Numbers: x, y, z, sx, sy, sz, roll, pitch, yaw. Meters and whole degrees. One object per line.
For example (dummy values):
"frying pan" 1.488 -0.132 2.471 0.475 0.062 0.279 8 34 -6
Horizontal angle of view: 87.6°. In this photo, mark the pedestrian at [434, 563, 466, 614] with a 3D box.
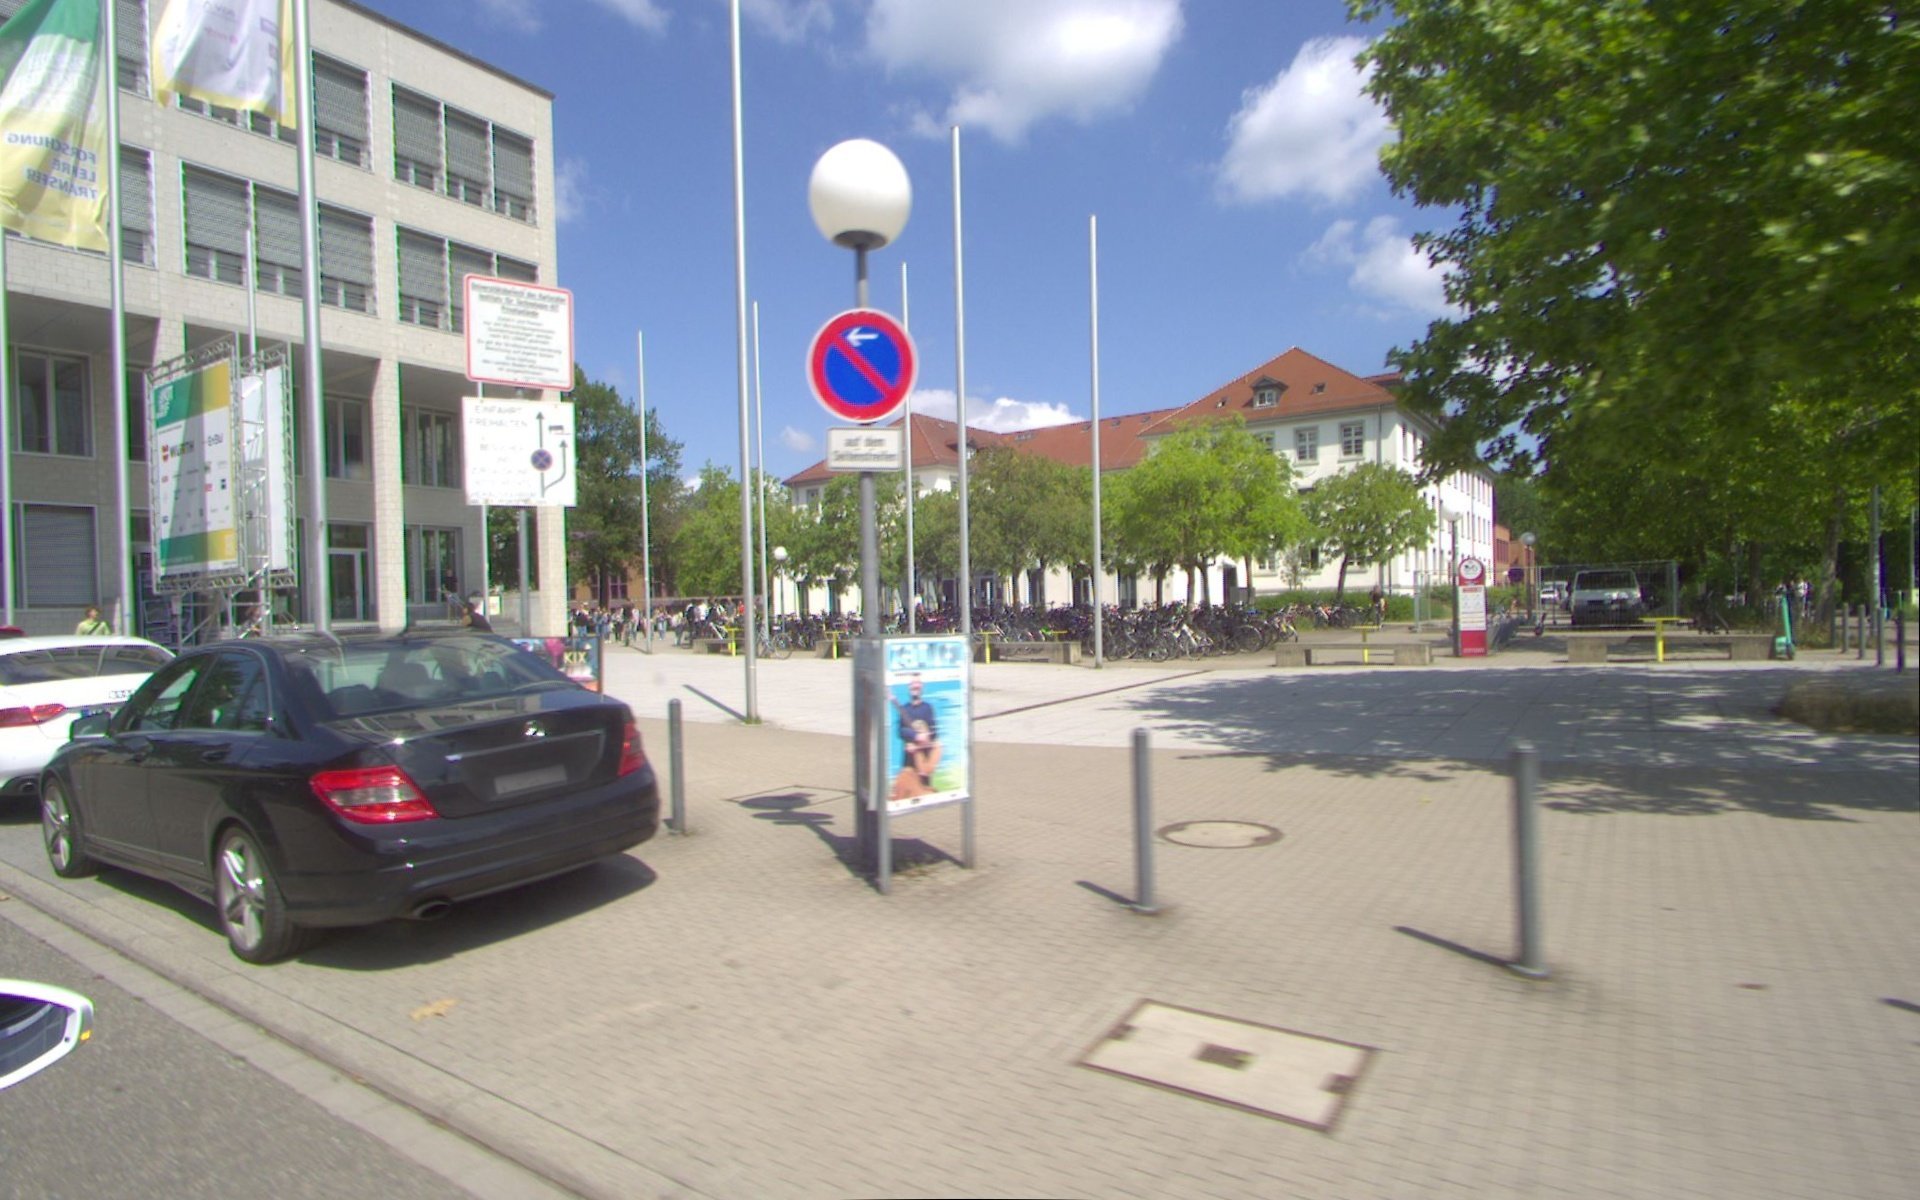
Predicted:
"pedestrian" -18.701 -0.420 36.717 0.708 1.821 0.715 -3 0 37

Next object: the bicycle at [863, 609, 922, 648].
"bicycle" -2.111 0.890 31.381 1.733 1.113 0.604 -3 0 4

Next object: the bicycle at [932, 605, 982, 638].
"bicycle" -0.104 0.790 36.996 1.733 1.113 0.604 -3 0 4

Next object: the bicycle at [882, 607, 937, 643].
"bicycle" -1.668 0.828 33.456 1.733 1.113 0.604 -3 0 4

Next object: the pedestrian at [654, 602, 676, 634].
"pedestrian" -13.987 0.844 47.433 0.707 1.455 0.630 -3 0 34

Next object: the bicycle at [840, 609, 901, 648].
"bicycle" -2.716 0.863 30.478 1.733 1.113 0.604 -3 0 4

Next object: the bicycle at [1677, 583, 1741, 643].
"bicycle" 16.208 0.272 21.647 2.011 1.198 0.792 -2 0 -45

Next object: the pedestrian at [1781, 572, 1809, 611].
"pedestrian" 39.792 -0.395 47.723 0.778 1.804 0.682 -3 0 -26

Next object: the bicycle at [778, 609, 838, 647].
"bicycle" -4.829 0.875 31.815 1.733 1.113 0.604 -3 0 4

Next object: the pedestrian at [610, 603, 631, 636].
"pedestrian" -15.652 0.899 46.121 0.707 1.449 0.630 -3 0 -37

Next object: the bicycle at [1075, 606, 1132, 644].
"bicycle" 4.626 0.809 32.419 1.733 1.113 0.604 -3 0 4

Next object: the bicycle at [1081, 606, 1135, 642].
"bicycle" 5.000 0.814 33.866 1.733 1.113 0.604 -3 0 4

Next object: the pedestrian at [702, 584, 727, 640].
"pedestrian" -10.224 0.504 41.643 0.840 2.258 0.633 -3 0 -20

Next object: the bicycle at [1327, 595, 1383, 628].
"bicycle" 14.323 0.412 36.340 1.733 1.113 0.604 -3 0 4

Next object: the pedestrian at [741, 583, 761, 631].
"pedestrian" -10.086 0.323 48.328 0.622 2.258 0.716 -3 0 4

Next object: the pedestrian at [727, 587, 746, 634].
"pedestrian" -10.820 0.516 48.470 0.622 2.258 0.716 -3 0 4

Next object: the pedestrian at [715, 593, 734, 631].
"pedestrian" -11.382 0.600 48.487 0.622 1.800 0.716 -3 0 4

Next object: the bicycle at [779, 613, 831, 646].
"bicycle" -5.720 1.088 37.008 1.733 1.113 0.604 -3 0 4

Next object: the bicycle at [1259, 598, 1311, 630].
"bicycle" 12.377 0.547 38.158 1.733 1.113 0.604 -3 0 4

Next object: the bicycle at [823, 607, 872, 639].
"bicycle" -4.251 0.861 37.980 1.733 1.113 0.604 -3 0 4

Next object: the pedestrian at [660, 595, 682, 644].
"pedestrian" -10.588 0.719 36.660 0.623 1.769 0.714 -3 0 -22

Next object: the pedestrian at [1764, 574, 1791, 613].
"pedestrian" 38.228 -0.302 46.806 0.779 1.804 0.681 -3 0 -30

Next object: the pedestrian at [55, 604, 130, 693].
"pedestrian" -17.881 0.983 20.637 0.988 1.763 0.915 -1 1 35

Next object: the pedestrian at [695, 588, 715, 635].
"pedestrian" -12.569 0.556 49.424 0.702 2.258 0.634 -3 0 4

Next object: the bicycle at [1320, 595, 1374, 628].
"bicycle" 14.445 0.424 37.384 1.733 1.113 0.604 -3 0 4

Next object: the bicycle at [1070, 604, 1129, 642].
"bicycle" 4.413 0.737 31.747 1.733 1.113 0.604 -3 0 4

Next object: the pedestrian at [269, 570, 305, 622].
"pedestrian" -21.580 -0.123 32.125 0.708 1.606 0.715 -3 0 37

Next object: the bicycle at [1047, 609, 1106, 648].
"bicycle" 3.601 0.868 31.103 1.733 1.113 0.604 -3 0 4

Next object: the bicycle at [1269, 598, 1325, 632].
"bicycle" 12.070 0.523 35.891 1.733 1.113 0.604 -3 0 4

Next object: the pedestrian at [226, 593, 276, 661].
"pedestrian" -17.725 0.667 25.043 0.724 1.661 0.691 -1 1 -4

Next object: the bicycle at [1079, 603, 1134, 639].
"bicycle" 4.837 0.696 33.113 1.733 1.113 0.604 -3 0 4

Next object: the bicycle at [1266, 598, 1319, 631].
"bicycle" 12.190 0.532 36.740 1.733 1.113 0.604 -3 0 4

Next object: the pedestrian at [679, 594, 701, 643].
"pedestrian" -9.988 0.693 36.996 0.623 1.769 0.714 -3 0 -22

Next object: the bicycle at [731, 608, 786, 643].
"bicycle" -6.978 0.895 34.745 1.733 1.113 0.604 -3 0 4

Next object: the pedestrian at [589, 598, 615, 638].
"pedestrian" -16.108 0.806 45.081 0.861 1.724 0.630 -3 0 -37

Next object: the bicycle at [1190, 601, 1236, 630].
"bicycle" 10.572 0.659 41.902 1.733 1.113 0.604 -3 0 4

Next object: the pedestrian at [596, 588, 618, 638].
"pedestrian" -16.421 0.614 46.570 0.707 2.258 0.630 -3 0 -37

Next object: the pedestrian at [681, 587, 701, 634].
"pedestrian" -13.400 0.527 49.850 0.702 2.258 0.634 -3 0 4

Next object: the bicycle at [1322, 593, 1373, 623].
"bicycle" 15.379 0.326 39.721 1.733 1.113 0.604 -3 0 4

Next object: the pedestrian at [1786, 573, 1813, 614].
"pedestrian" 38.633 -0.305 46.076 0.780 1.804 0.681 -3 0 -31

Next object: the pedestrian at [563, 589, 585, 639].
"pedestrian" -17.873 0.650 46.328 0.707 2.258 0.630 -3 0 -37

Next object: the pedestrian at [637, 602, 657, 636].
"pedestrian" -14.582 0.896 46.636 0.625 1.517 0.712 -3 0 -33

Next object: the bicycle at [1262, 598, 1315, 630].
"bicycle" 12.285 0.525 37.456 1.733 1.113 0.604 -3 0 4

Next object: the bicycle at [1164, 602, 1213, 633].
"bicycle" 8.949 0.699 39.235 1.733 1.113 0.604 -3 0 4

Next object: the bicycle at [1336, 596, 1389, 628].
"bicycle" 15.417 0.459 38.417 1.733 1.113 0.604 -3 0 4
